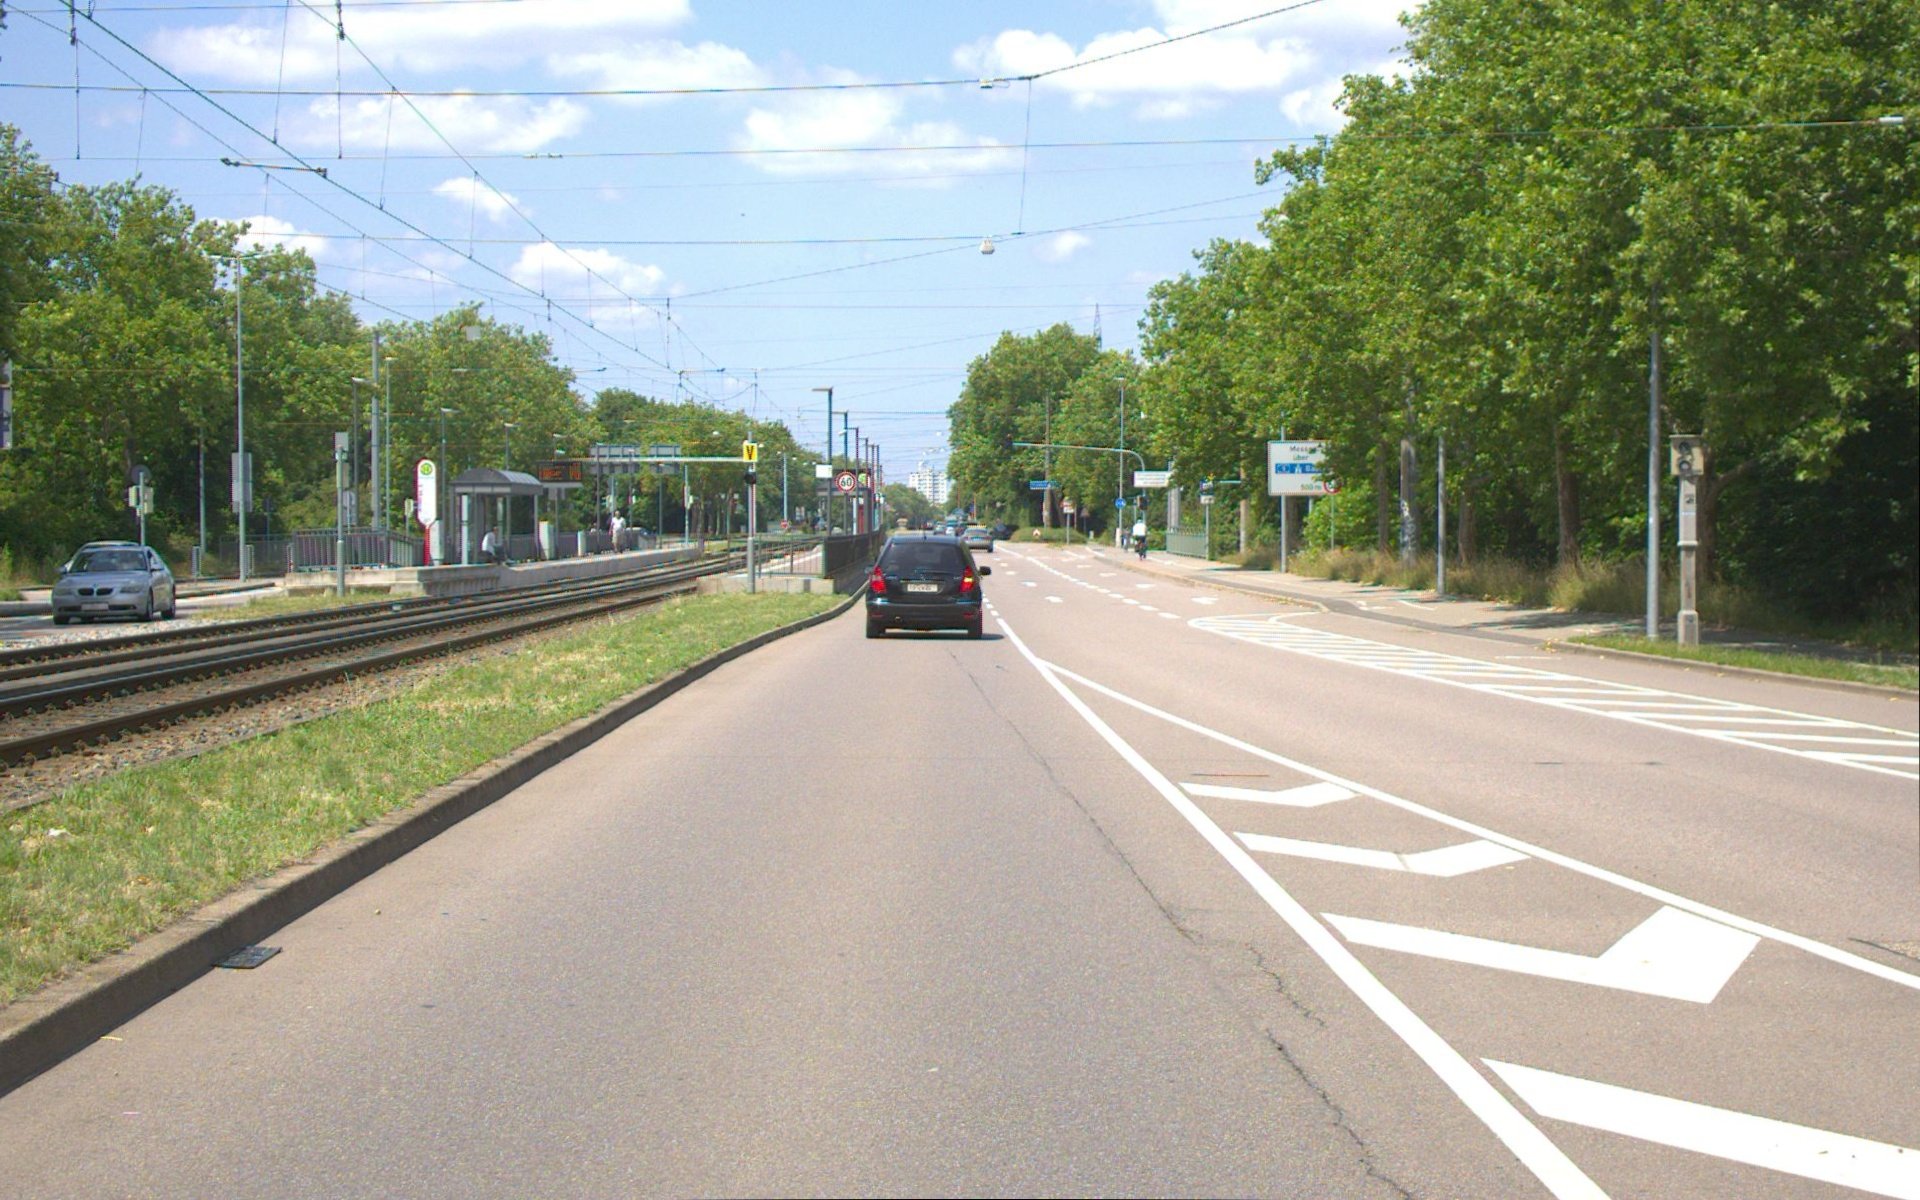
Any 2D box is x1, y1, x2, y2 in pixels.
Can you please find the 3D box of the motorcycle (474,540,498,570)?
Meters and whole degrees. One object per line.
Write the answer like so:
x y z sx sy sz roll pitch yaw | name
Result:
-14.629 -1.394 106.166 0.231 0.895 0.882 1 1 31 | motorcycle

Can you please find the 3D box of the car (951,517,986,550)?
0.482 -3.762 193.496 1.885 1.634 4.000 4 2 0 | car

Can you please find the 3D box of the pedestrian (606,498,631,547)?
-14.445 -3.286 145.447 0.952 2.006 0.892 1 2 -1 | pedestrian

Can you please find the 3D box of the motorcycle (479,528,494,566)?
-14.620 -1.623 106.178 0.283 1.169 0.391 1 1 31 | motorcycle

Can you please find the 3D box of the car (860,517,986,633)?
-0.542 -0.422 53.485 1.853 1.564 4.389 1 3 0 | car

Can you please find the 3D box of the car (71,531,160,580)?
-28.106 -1.498 114.536 1.993 1.568 4.000 0 1 0 | car

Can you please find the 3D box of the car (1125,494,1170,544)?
7.982 -3.460 146.446 1.612 2.006 3.440 1 2 -1 | car

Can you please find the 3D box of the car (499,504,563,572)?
-13.482 -1.960 108.254 1.585 2.006 4.111 1 2 -2 | car

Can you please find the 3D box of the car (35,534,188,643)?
-16.270 -0.261 66.085 1.993 2.007 4.000 0 1 -1 | car
